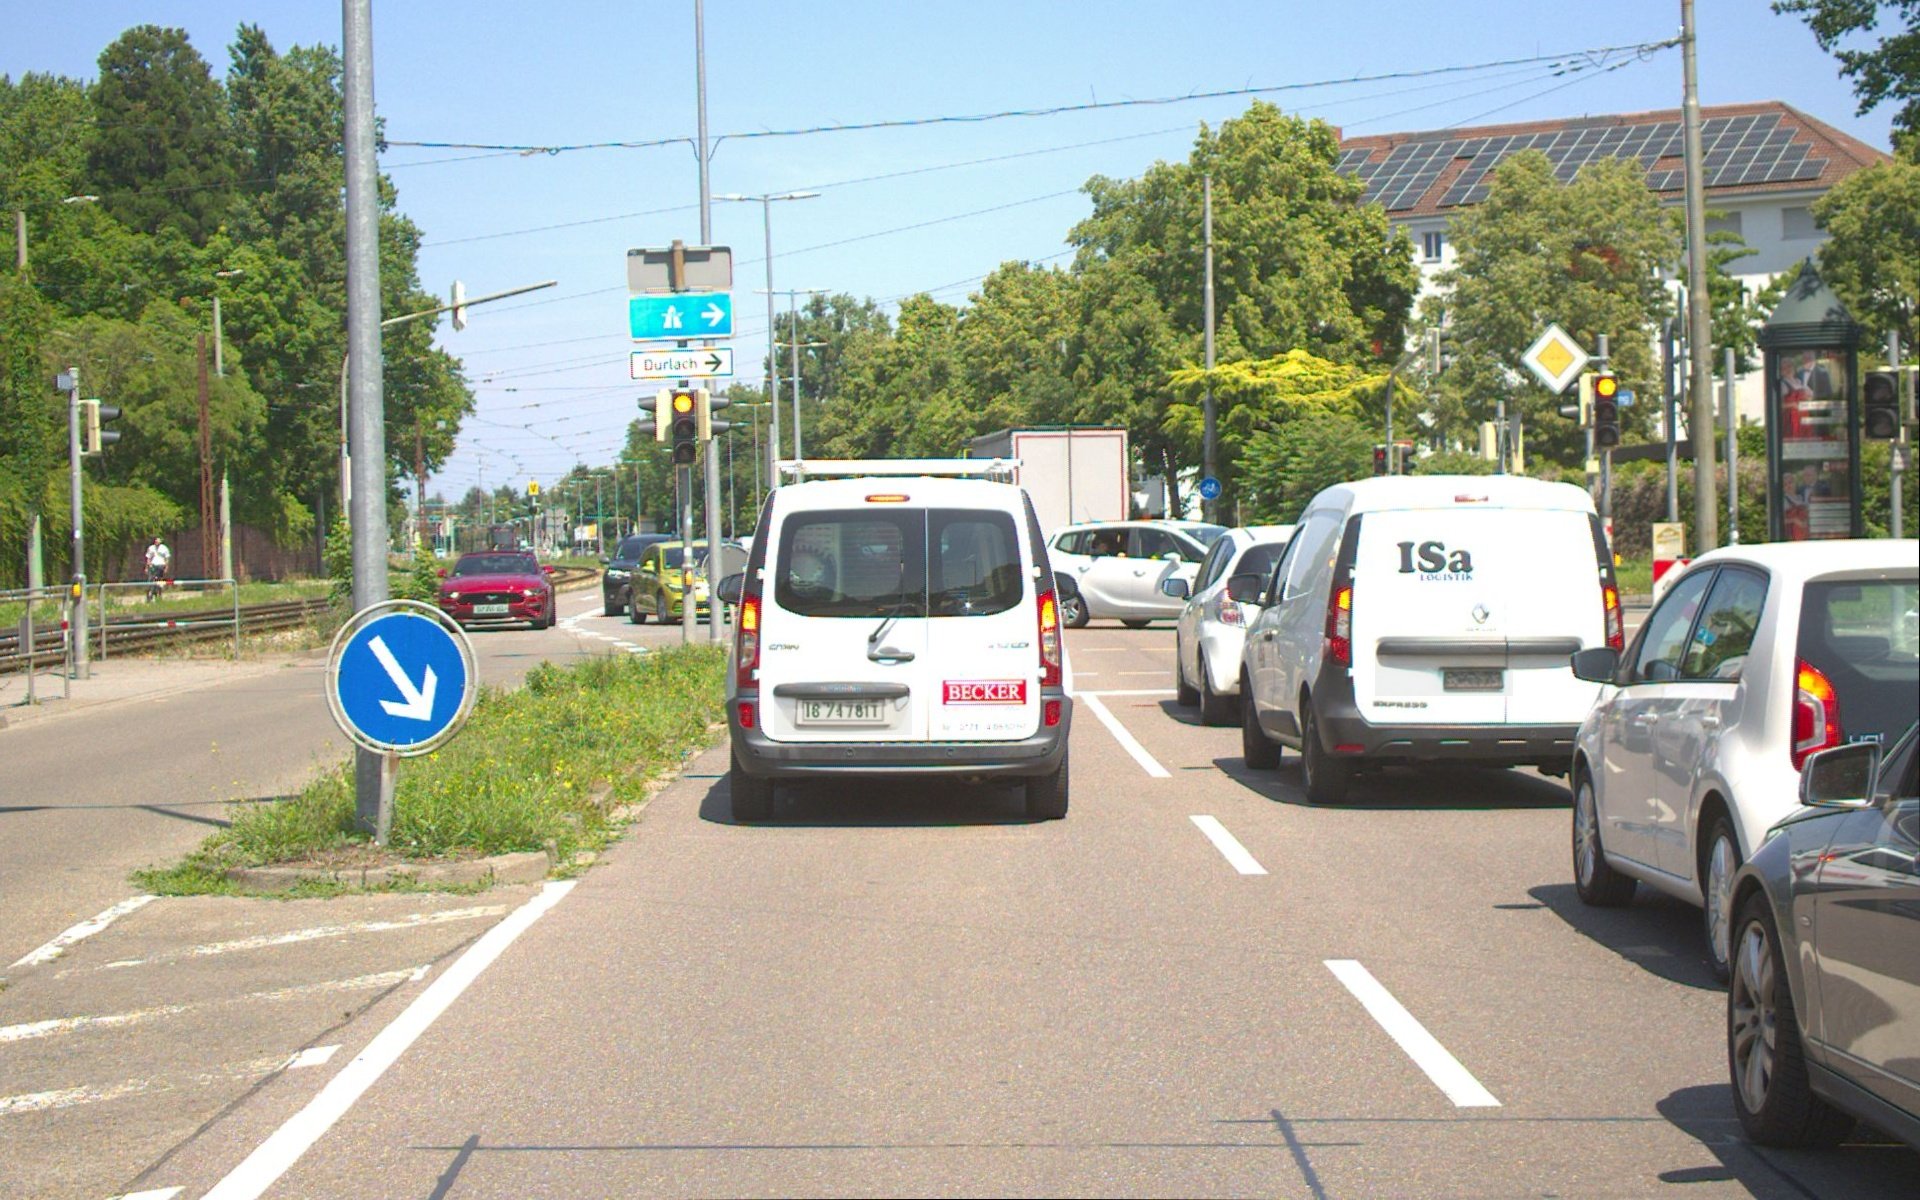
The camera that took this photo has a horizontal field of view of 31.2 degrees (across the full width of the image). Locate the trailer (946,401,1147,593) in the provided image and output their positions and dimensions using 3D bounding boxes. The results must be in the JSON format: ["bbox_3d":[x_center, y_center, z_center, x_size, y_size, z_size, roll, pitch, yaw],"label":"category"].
[{"bbox_3d":[1.824,-2.293,77.841,3.527,4.037,8.979,-1,1,-5],"label":"trailer"}]

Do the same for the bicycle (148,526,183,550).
[{"bbox_3d":[-22.182,-1.738,96.047,0.561,0.645,1.720,-1,1,0],"label":"bicycle"}]

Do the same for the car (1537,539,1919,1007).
[{"bbox_3d":[3.212,0.519,12.537,1.607,1.446,3.521,1,1,0],"label":"car"}]

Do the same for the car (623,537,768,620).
[{"bbox_3d":[-4.677,-0.399,60.316,1.538,1.374,4.004,-1,1,-19],"label":"car"}]

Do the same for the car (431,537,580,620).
[{"bbox_3d":[-7.975,-0.410,60.646,1.984,1.354,4.538,-1,1,0],"label":"car"}]

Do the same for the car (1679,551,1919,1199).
[{"bbox_3d":[2.772,0.638,6.730,1.795,1.444,4.418,-1,1,0],"label":"car"}]

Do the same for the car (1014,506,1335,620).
[{"bbox_3d":[3.151,-0.551,51.069,4.451,1.612,1.995,0,2,41],"label":"car"}]

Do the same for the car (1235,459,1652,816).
[{"bbox_3d":[2.655,0.151,19.760,1.710,1.824,4.014,1,1,-1],"label":"car"}]

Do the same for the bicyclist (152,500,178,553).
[{"bbox_3d":[-22.197,-2.047,95.961,0.558,1.473,0.561,-1,1,1],"label":"bicyclist"}]

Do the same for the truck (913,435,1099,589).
[{"bbox_3d":[1.048,-2.199,86.693,3.575,3.620,8.811,-1,1,-6],"label":"truck"}]

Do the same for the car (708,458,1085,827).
[{"bbox_3d":[-0.364,0.170,18.991,1.866,1.829,3.849,0,1,-2],"label":"car"}]

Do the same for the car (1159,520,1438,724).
[{"bbox_3d":[2.633,0.119,27.554,1.756,1.481,4.000,-1,1,-1],"label":"car"}]

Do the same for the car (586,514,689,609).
[{"bbox_3d":[-6.593,-0.805,70.252,1.993,1.853,4.001,-1,1,-5],"label":"car"}]
